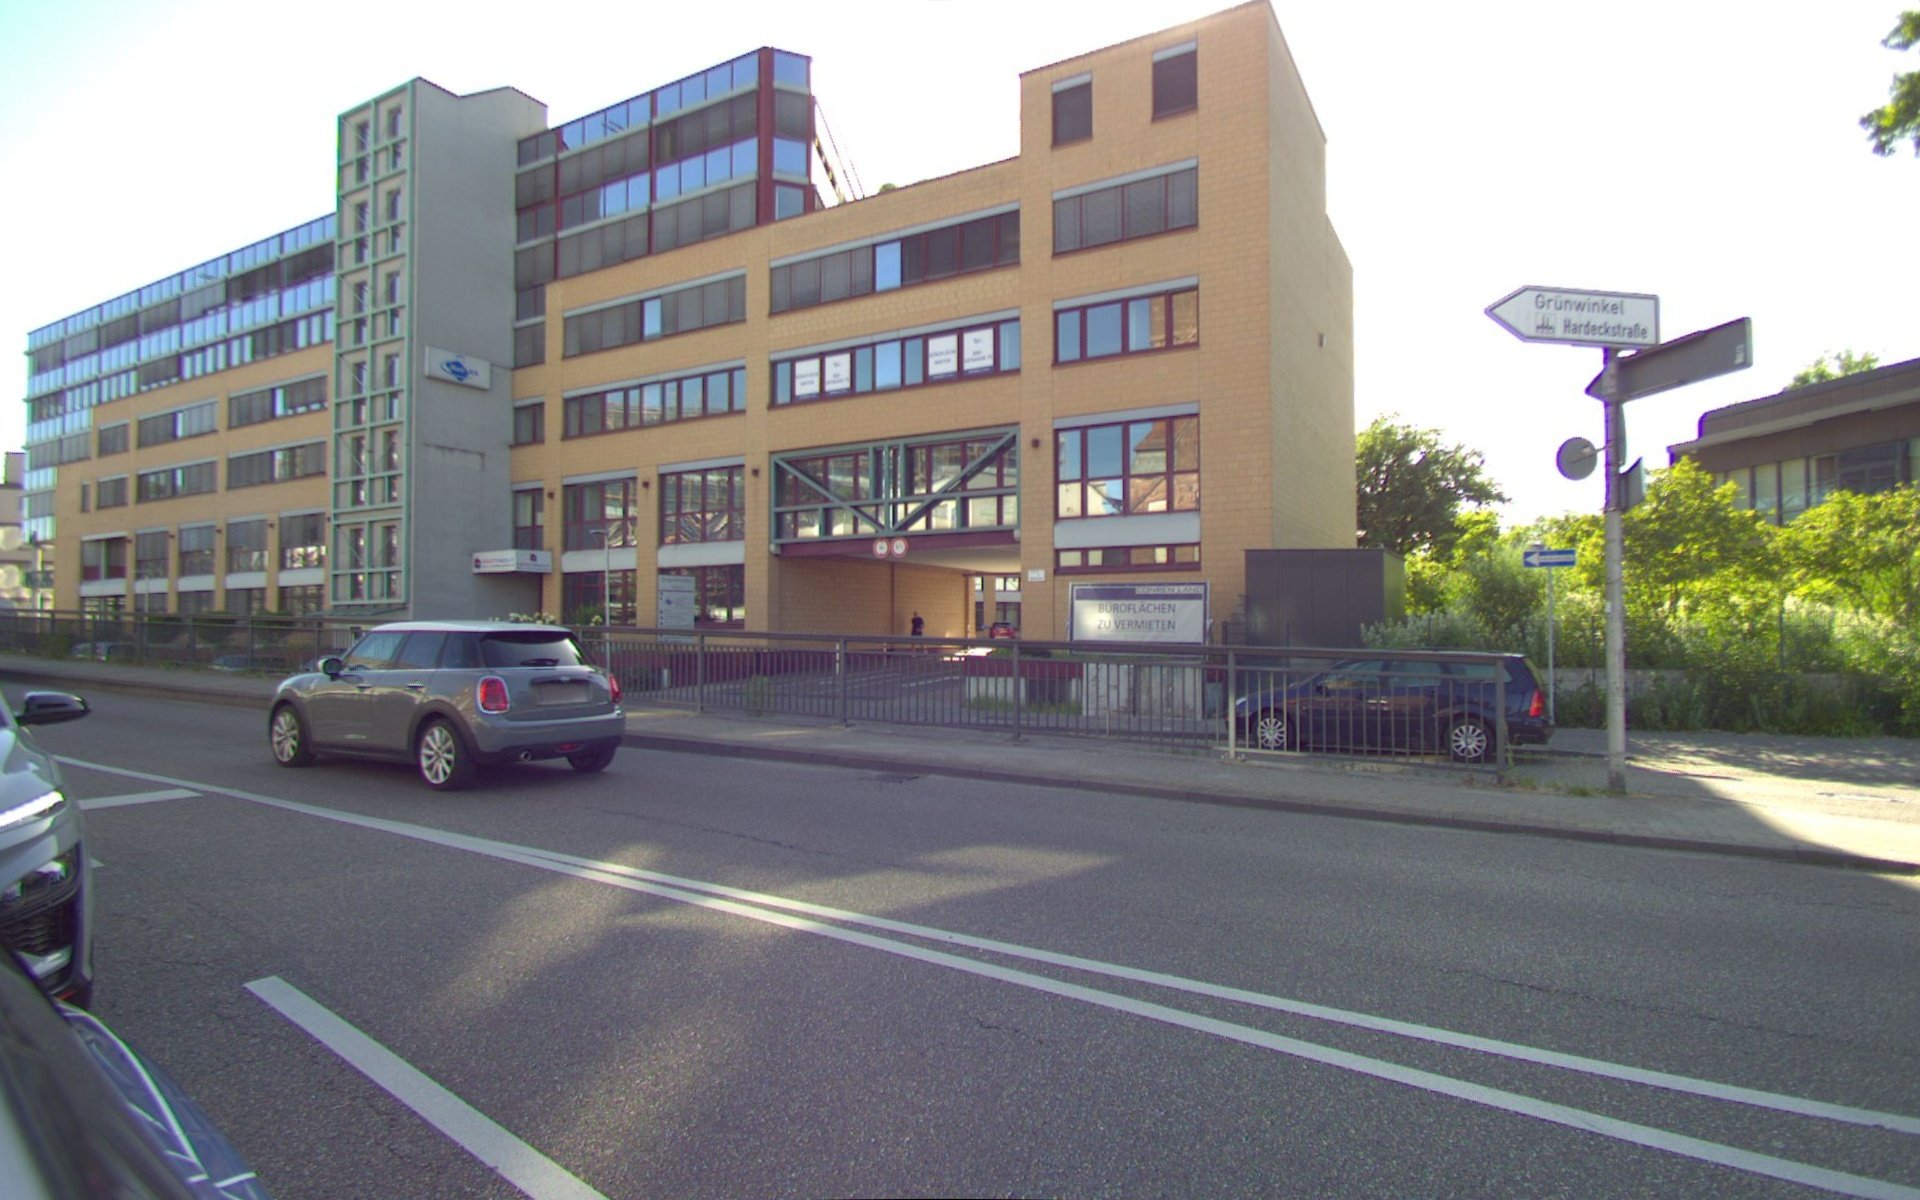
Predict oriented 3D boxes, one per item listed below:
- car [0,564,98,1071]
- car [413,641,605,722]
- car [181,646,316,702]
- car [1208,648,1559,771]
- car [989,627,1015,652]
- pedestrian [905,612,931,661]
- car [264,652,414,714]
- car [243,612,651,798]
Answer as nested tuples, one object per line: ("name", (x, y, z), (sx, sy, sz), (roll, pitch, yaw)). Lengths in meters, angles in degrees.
("car", (-5.025, 0.688, 4.042), (4.219, 1.582, 1.825), (-1, -1, 42))
("car", (-11.149, 1.930, 24.934), (4.667, 1.771, 1.938), (-1, -1, 29))
("car", (-22.325, 2.261, 31.736), (4.340, 1.616, 1.807), (-1, -3, 30))
("car", (6.062, 1.467, 14.685), (4.438, 1.515, 1.805), (-2, -3, 33))
("car", (2.755, 2.605, 66.722), (1.621, 1.586, 3.150), (-1, -2, 2))
("pedestrian", (-1.629, 1.429, 39.372), (0.676, 1.858, 0.779), (-2, -3, 28))
("car", (-17.736, 2.313, 28.855), (4.340, 1.616, 1.807), (-1, -3, 30))
("car", (-4.992, 0.923, 9.744), (3.899, 1.468, 1.673), (-2, -4, 31))
